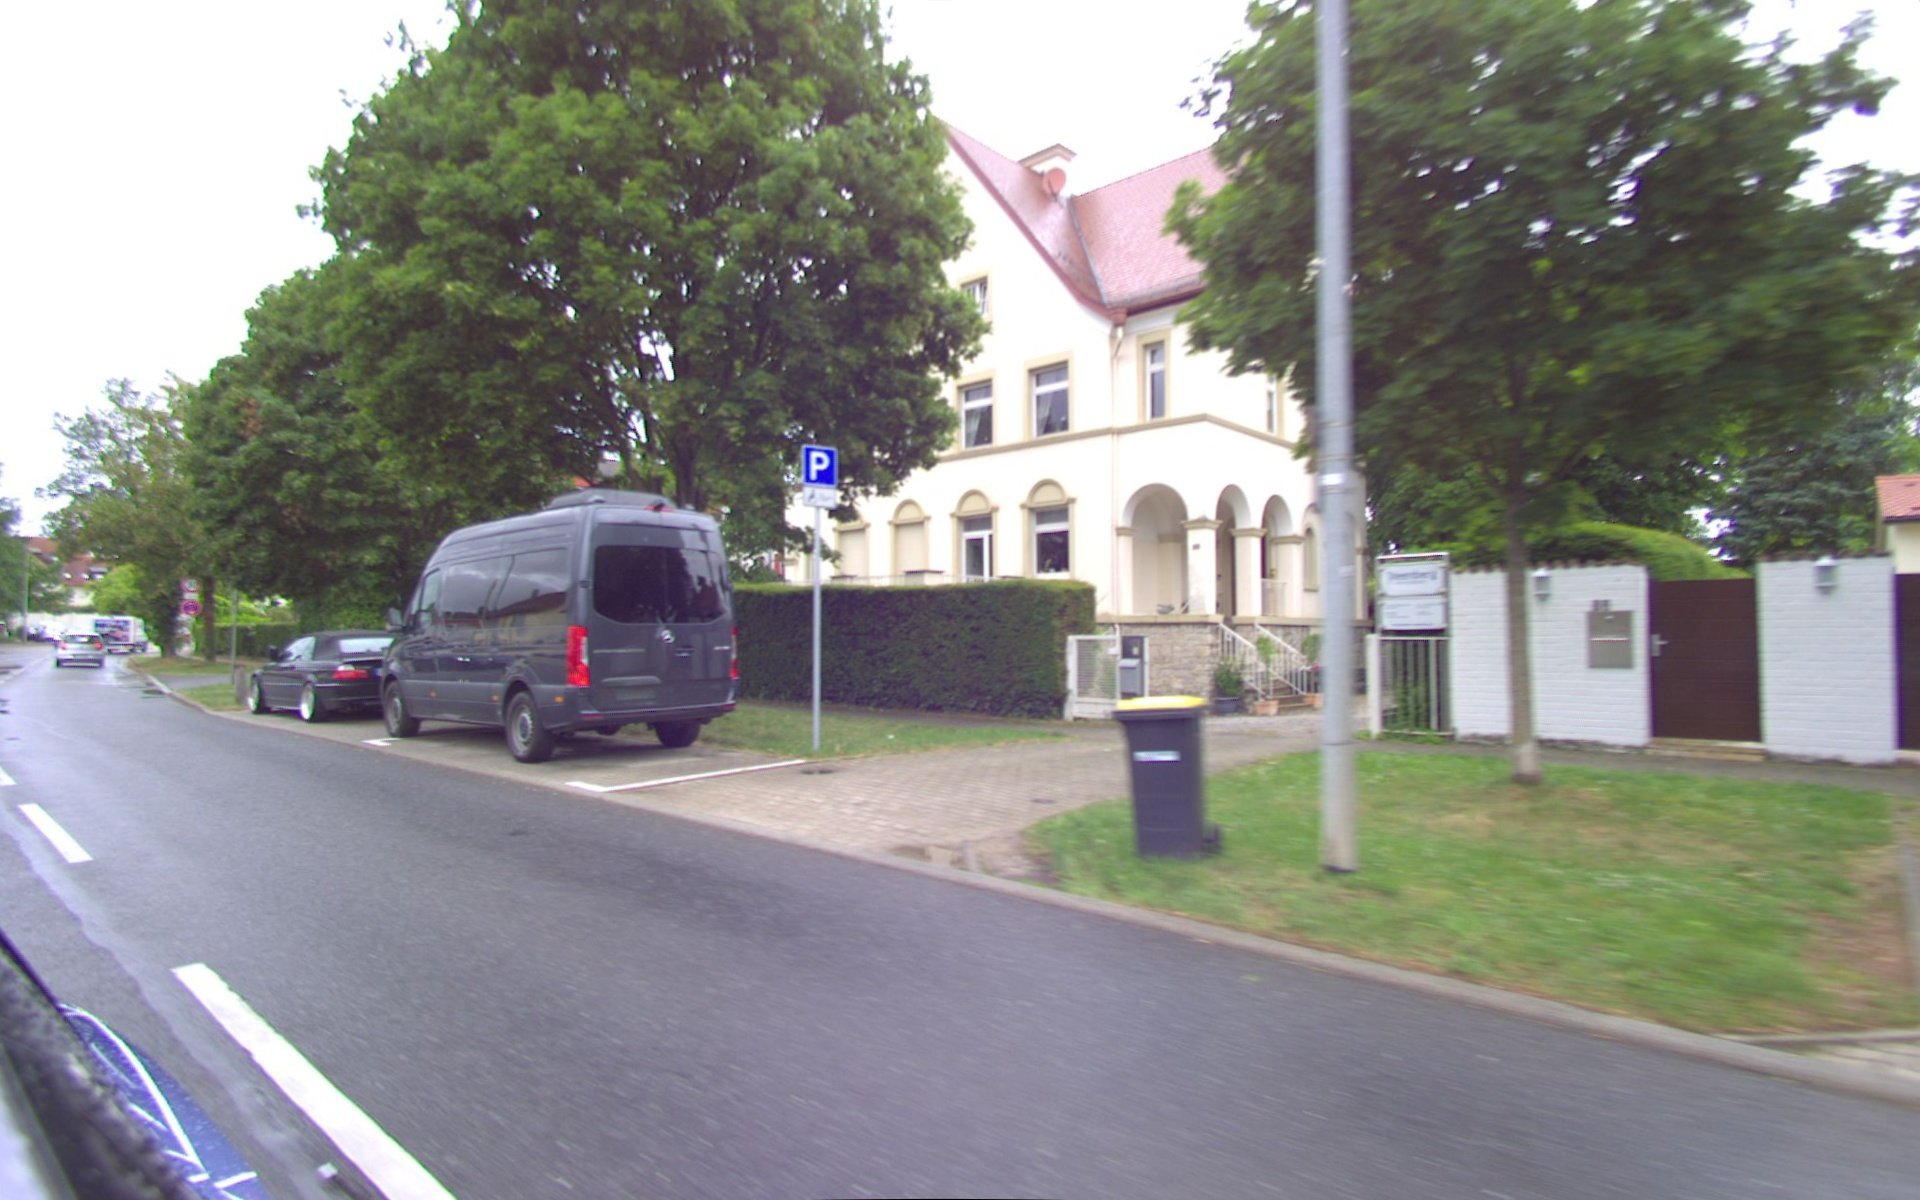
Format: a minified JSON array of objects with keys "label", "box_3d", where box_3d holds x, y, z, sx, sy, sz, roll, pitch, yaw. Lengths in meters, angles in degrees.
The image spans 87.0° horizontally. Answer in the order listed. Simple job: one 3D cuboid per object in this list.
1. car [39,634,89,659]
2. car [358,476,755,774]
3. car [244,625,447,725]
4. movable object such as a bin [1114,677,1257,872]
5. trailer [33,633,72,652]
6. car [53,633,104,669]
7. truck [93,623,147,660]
[{"label":"car","box_3d":[-58.906,3.021,66.572,1.811,1.562,4.011,1,-2,-32]},{"label":"car","box_3d":[-5.073,0.323,12.096,5.936,2.749,1.972,-3,-2,42]},{"label":"car","box_3d":[-9.910,1.147,16.234,3.823,1.419,1.704,-2,-3,41]},{"label":"movable object such as a bin","box_3d":[1.244,0.925,5.589,0.551,0.960,0.550,1,-3,-45]},{"label":"trailer","box_3d":[-76.115,3.520,84.885,4.425,1.555,1.972,-2,-3,43]},{"label":"car","box_3d":[-38.044,2.193,43.731,1.574,1.475,3.458,1,-3,-41]},{"label":"truck","box_3d":[-52.916,2.630,63.831,2.188,2.220,6.478,2,-3,-36]}]
